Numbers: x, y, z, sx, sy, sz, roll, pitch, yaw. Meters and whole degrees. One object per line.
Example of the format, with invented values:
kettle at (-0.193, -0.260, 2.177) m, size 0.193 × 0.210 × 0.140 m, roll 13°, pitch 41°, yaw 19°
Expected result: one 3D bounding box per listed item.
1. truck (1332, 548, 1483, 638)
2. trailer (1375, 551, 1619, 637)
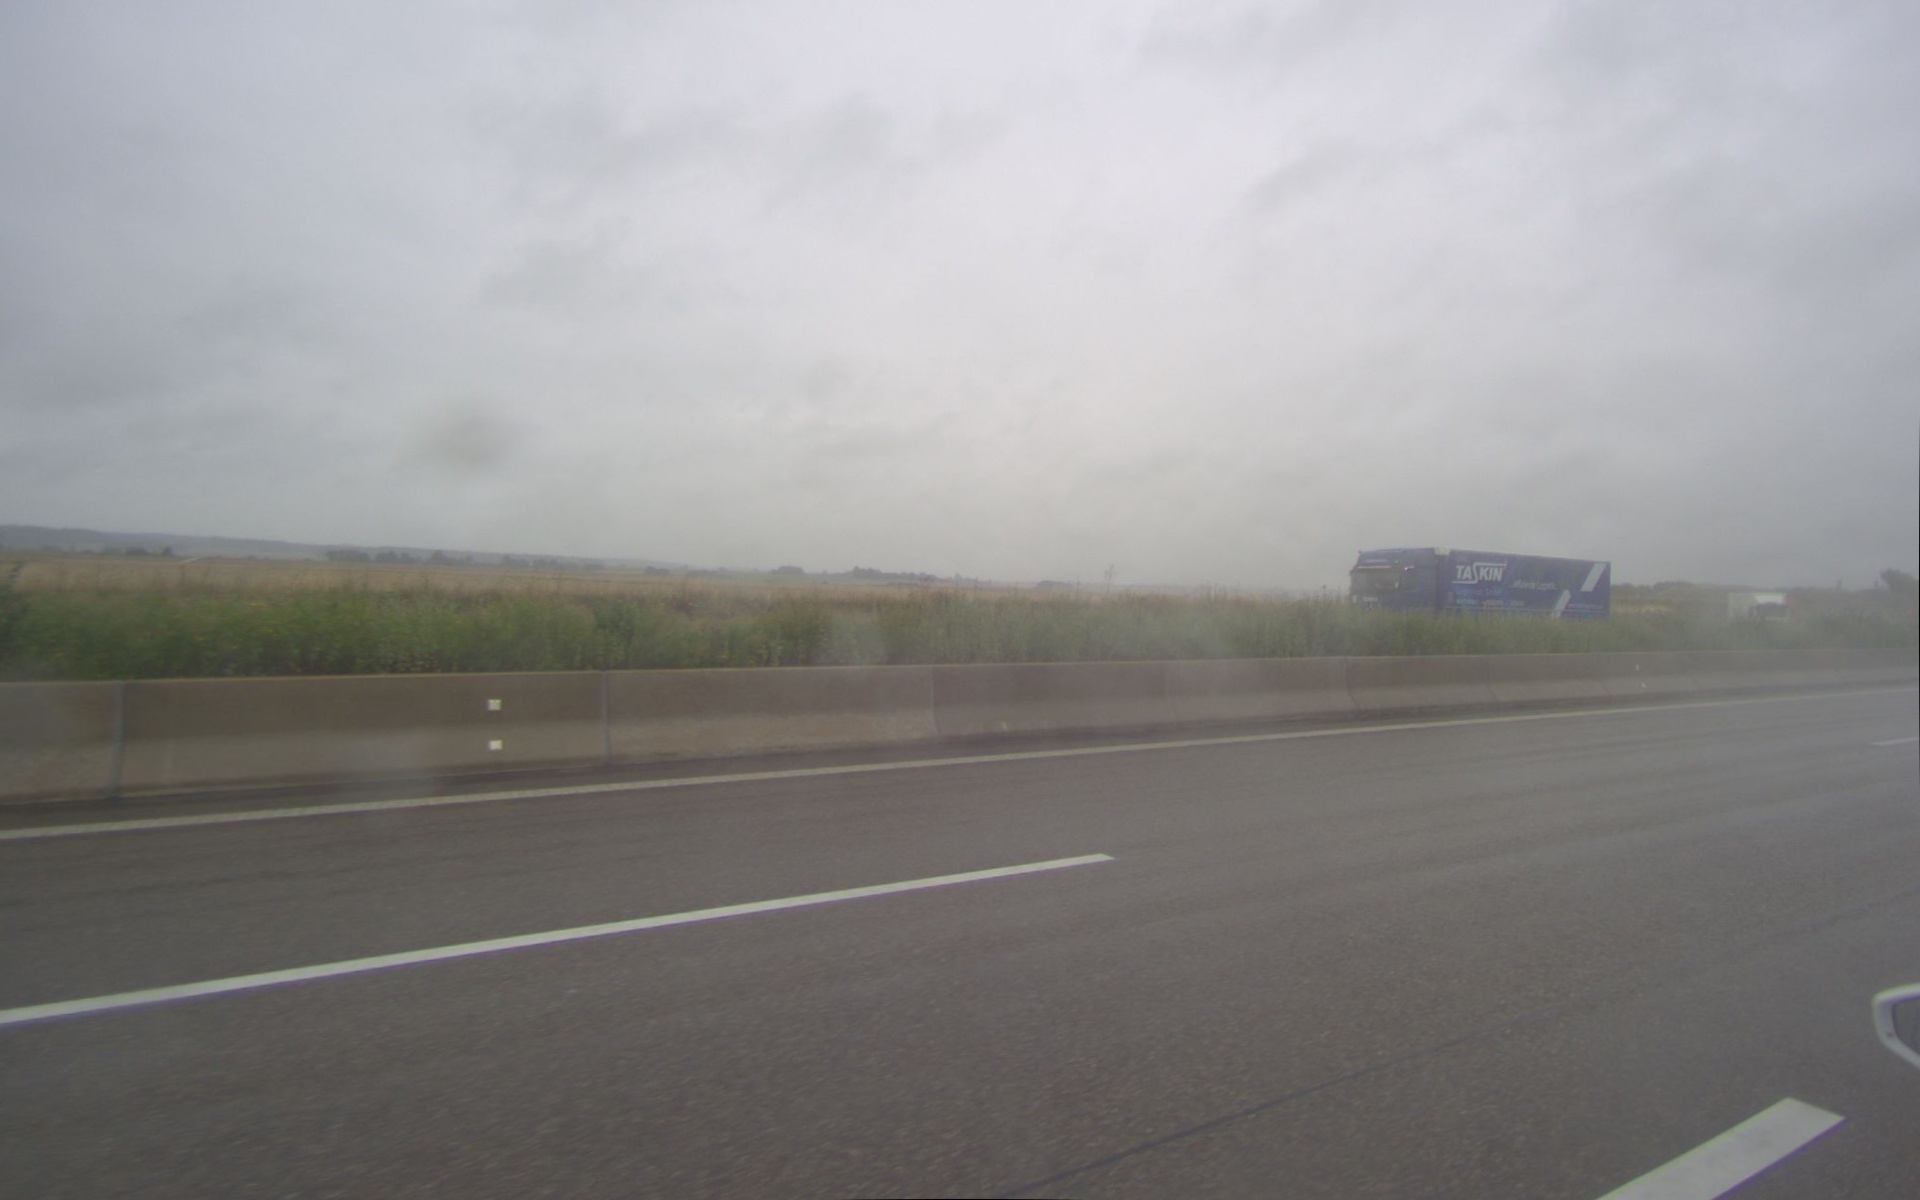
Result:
truck at (18.656, -0.225, 41.818) m, size 5.619 × 3.467 × 3.084 m, roll 1°, pitch 0°, yaw -31°
trailer at (24.608, -0.111, 45.463) m, size 14.074 × 3.463 × 3.098 m, roll 1°, pitch 0°, yaw -32°
